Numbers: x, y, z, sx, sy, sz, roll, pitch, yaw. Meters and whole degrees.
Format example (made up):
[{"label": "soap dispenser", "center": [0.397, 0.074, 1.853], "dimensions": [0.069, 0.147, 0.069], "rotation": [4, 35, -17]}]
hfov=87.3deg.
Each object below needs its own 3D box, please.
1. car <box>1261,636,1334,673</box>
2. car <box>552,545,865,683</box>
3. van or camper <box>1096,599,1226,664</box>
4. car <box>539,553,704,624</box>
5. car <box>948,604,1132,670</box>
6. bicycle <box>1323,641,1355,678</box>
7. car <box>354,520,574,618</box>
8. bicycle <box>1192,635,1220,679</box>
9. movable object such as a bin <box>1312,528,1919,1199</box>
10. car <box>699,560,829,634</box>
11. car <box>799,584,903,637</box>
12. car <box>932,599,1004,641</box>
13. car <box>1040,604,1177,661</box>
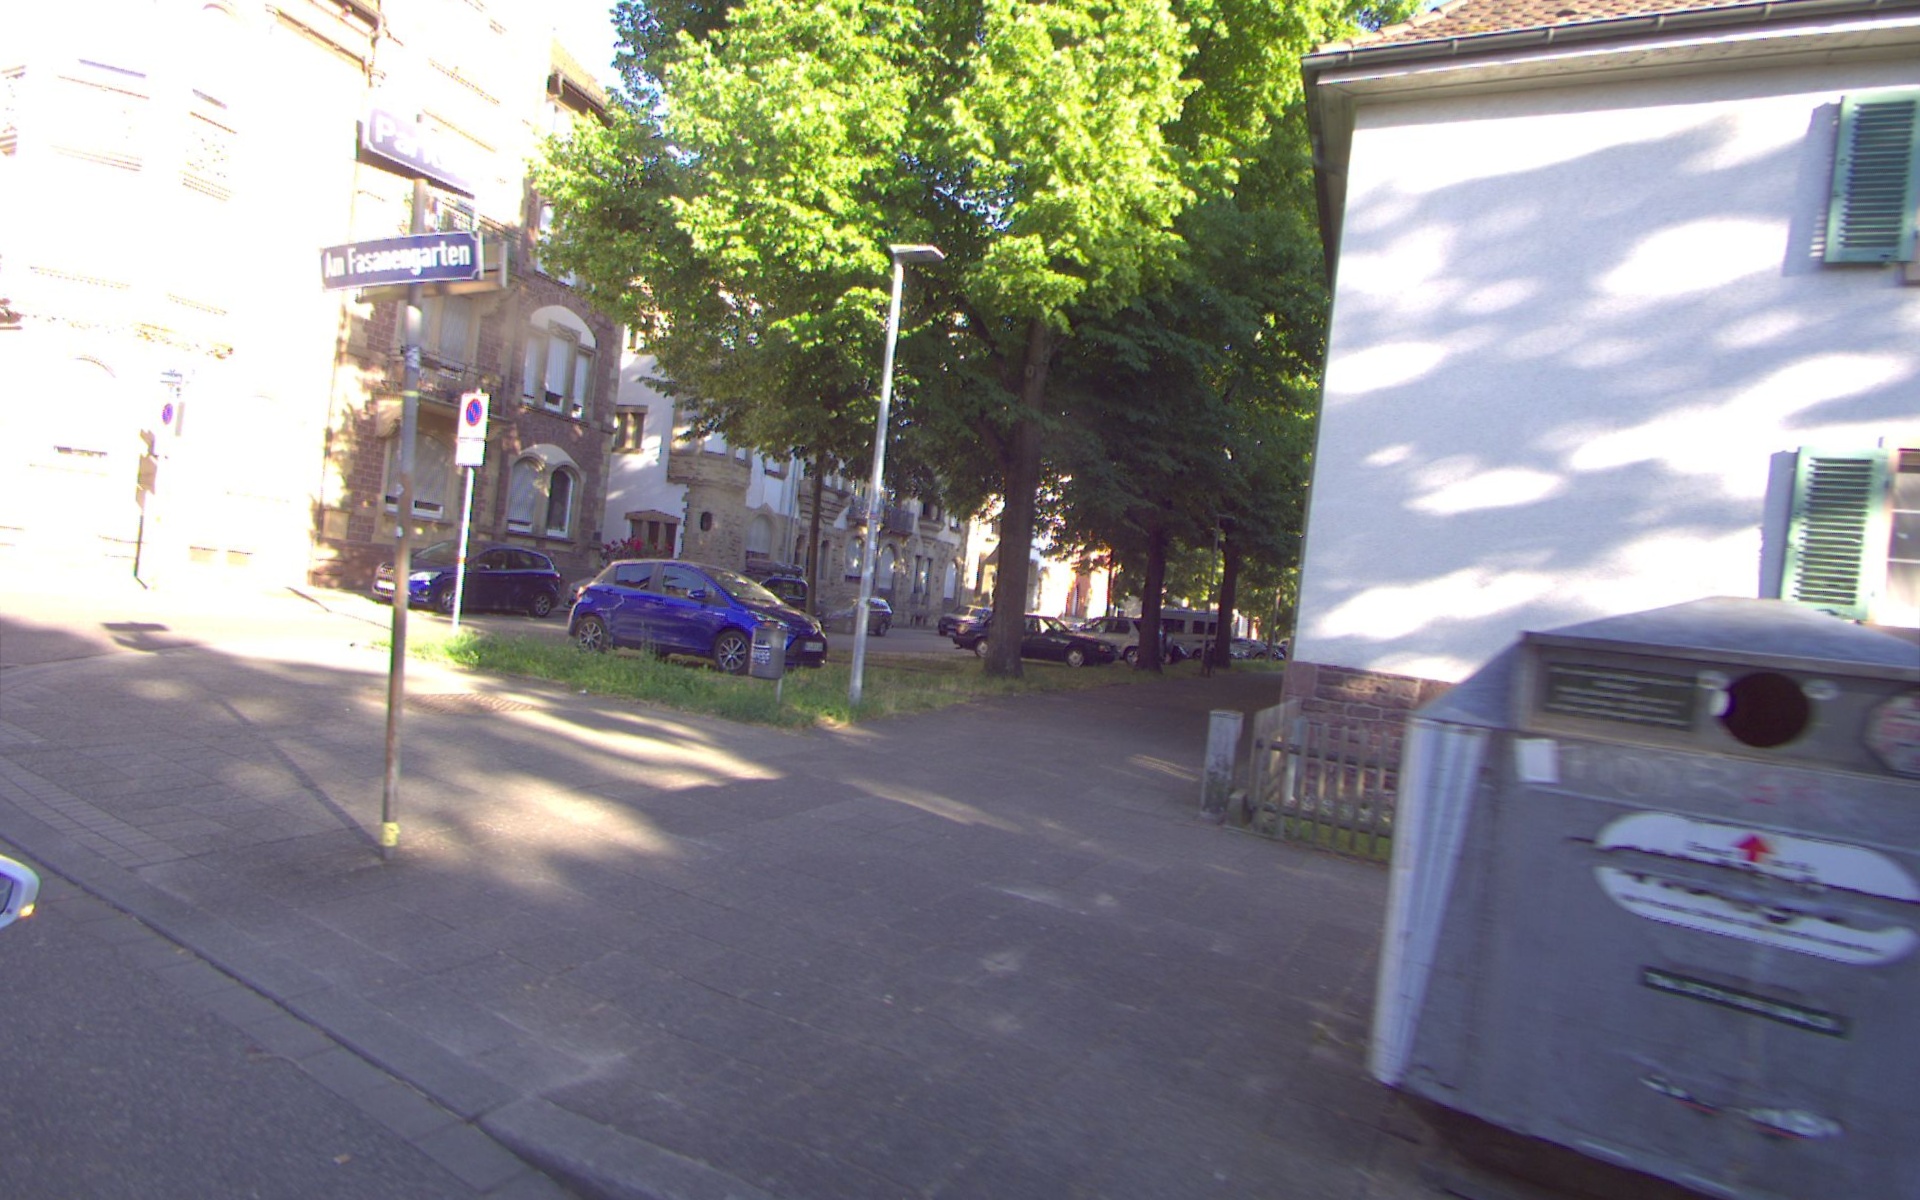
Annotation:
[{"label": "car", "center": [37.274, 5.982, 111.290], "dimensions": [7.226, 3.322, 2.222], "rotation": [5, -1, 25]}, {"label": "car", "center": [-3.667, 0.210, 14.792], "dimensions": [3.927, 1.574, 2.000], "rotation": [5, -1, 22]}, {"label": "van or camper", "center": [9.445, 1.489, 47.262], "dimensions": [5.490, 2.567, 2.268], "rotation": [4, -2, 22]}, {"label": "car", "center": [-9.146, -0.247, 27.577], "dimensions": [1.703, 1.517, 4.453], "rotation": [8, 1, 21]}, {"label": "car", "center": [2.308, 1.064, 28.995], "dimensions": [4.820, 1.459, 1.942], "rotation": [4, -2, 22]}, {"label": "bicycle", "center": [16.118, 2.527, 42.790], "dimensions": [0.787, 1.417, 2.005], "rotation": [6, 0, 10]}, {"label": "car", "center": [-11.007, -0.618, 22.693], "dimensions": [1.703, 1.641, 4.259], "rotation": [8, -1, 21]}, {"label": "bicycle", "center": [7.154, 1.630, 29.241], "dimensions": [0.618, 1.177, 1.935], "rotation": [7, 1, 16]}, {"label": "movable object such as a bin", "center": [2.075, 0.790, 2.836], "dimensions": [1.612, 1.677, 1.589], "rotation": [6, -1, 31]}, {"label": "car", "center": [-6.419, -0.036, 33.471], "dimensions": [1.939, 1.999, 4.496], "rotation": [8, 1, 21]}, {"label": "car", "center": [-4.105, 0.460, 38.860], "dimensions": [1.704, 1.593, 4.707], "rotation": [6, -1, 24]}, {"label": "car", "center": [0.467, 1.034, 49.747], "dimensions": [2.018, 1.641, 4.396], "rotation": [7, -1, 21]}, {"label": "car", "center": [5.266, 1.140, 35.719], "dimensions": [4.408, 1.691, 1.941], "rotation": [4, 0, 22]}]
